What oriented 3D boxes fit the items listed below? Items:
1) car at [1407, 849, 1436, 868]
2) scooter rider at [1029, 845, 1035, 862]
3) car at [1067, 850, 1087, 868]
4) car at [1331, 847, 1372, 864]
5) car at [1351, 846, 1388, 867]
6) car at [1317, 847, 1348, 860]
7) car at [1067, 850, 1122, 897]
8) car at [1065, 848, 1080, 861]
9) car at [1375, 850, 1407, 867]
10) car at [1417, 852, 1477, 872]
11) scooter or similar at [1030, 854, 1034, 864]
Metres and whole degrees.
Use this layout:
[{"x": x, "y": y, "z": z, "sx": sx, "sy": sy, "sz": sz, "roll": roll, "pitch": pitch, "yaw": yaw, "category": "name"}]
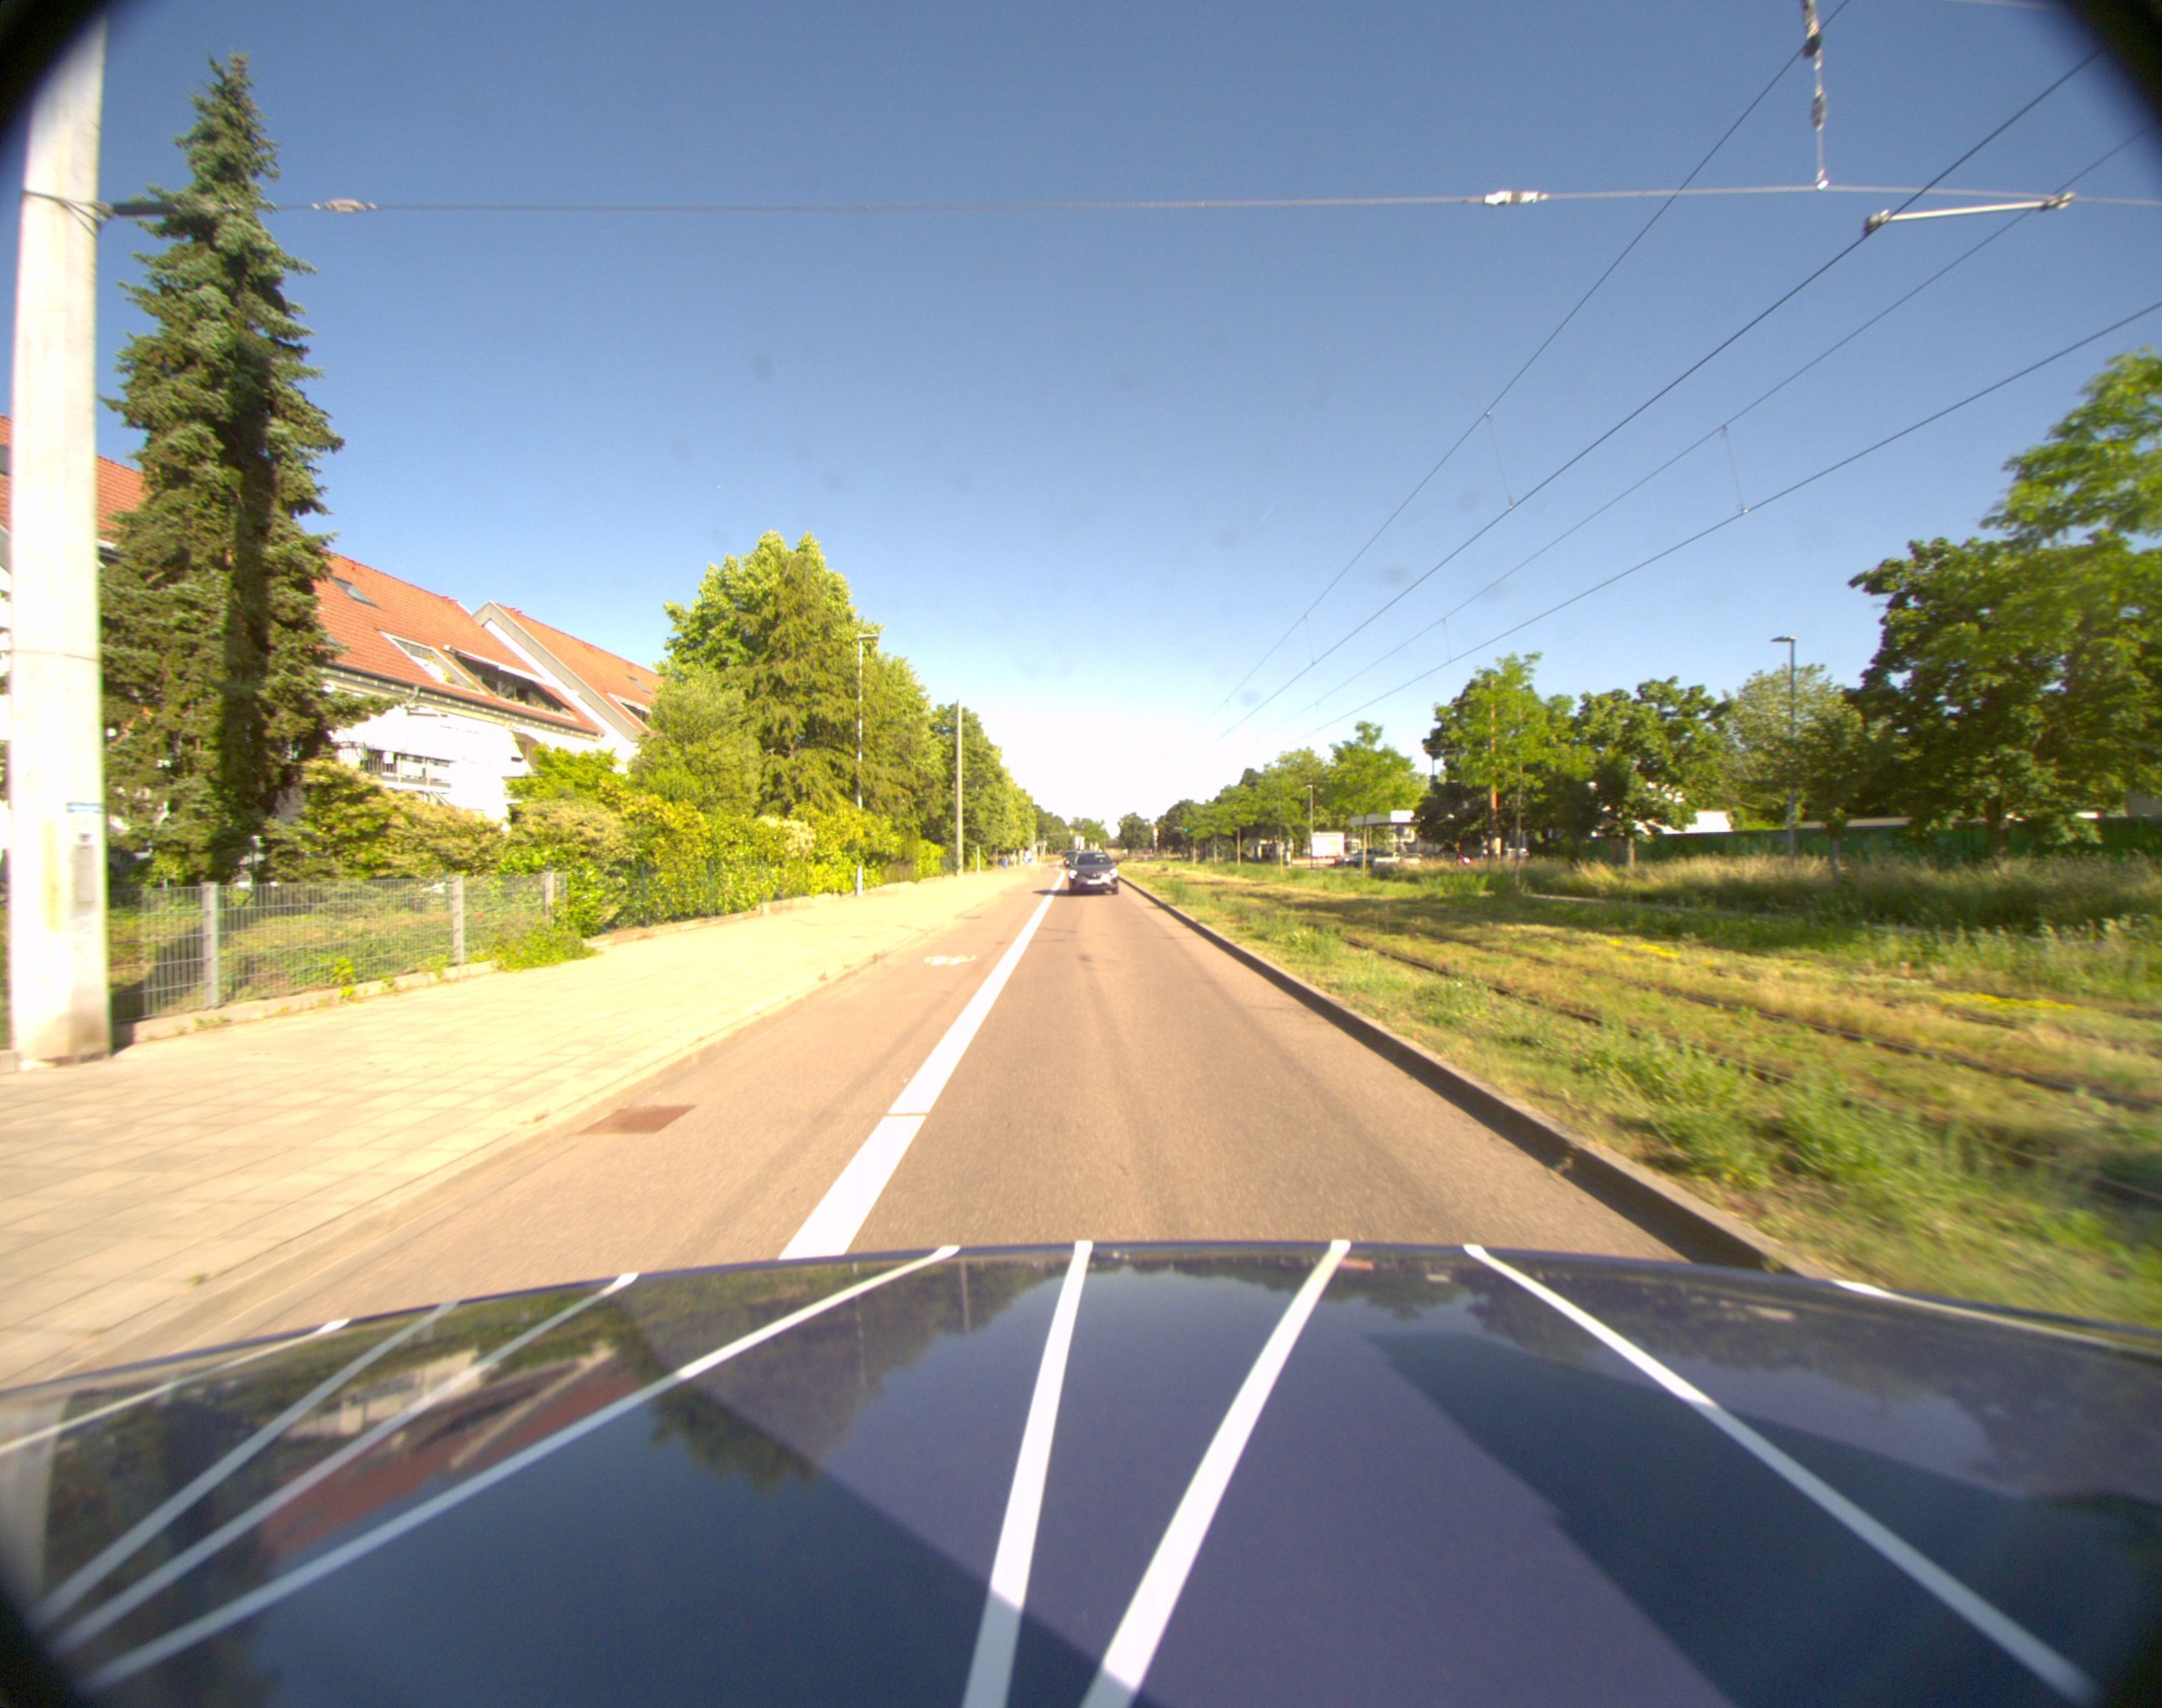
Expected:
[{"x": 30.149, "y": 0.366, "z": 67.262, "sx": 2.022, "sy": 1.499, "sz": 4.897, "roll": 0, "pitch": 2, "yaw": 28, "category": "car"}, {"x": -5.437, "y": -0.059, "z": 83.825, "sx": 0.552, "sy": 1.756, "sz": 0.599, "roll": -1, "pitch": 1, "yaw": -2, "category": "scooter rider"}, {"x": -0.429, "y": 0.499, "z": 81.041, "sx": 1.998, "sy": 1.824, "sz": 3.999, "roll": -2, "pitch": 1, "yaw": 1, "category": "car"}, {"x": 30.899, "y": 0.178, "z": 86.813, "sx": 3.996, "sy": 1.846, "sz": 2.000, "roll": -2, "pitch": 0, "yaw": 2, "category": "car"}, {"x": 28.014, "y": 0.234, "z": 73.688, "sx": 1.893, "sy": 1.899, "sz": 4.821, "roll": -1, "pitch": 0, "yaw": 40, "category": "car"}, {"x": 38.883, "y": -0.065, "z": 117.633, "sx": 4.052, "sy": 1.816, "sz": 1.999, "roll": -2, "pitch": 1, "yaw": -3, "category": "car"}, {"x": 0.449, "y": 0.689, "z": 28.642, "sx": 1.868, "sy": 1.614, "sz": 3.999, "roll": -1, "pitch": 0, "yaw": -1, "category": "car"}, {"x": -1.267, "y": 0.060, "z": 112.040, "sx": 1.998, "sy": 1.824, "sz": 3.999, "roll": -2, "pitch": 1, "yaw": 1, "category": "car"}, {"x": 28.372, "y": 0.383, "z": 69.471, "sx": 1.712, "sy": 1.416, "sz": 4.466, "roll": -1, "pitch": 1, "yaw": 36, "category": "car"}, {"x": 27.488, "y": 0.573, "z": 57.115, "sx": 3.711, "sy": 1.503, "sz": 1.641, "roll": 0, "pitch": 0, "yaw": -4, "category": "car"}, {"x": -5.424, "y": 0.525, "z": 83.592, "sx": 0.349, "sy": 1.130, "sz": 1.208, "roll": 0, "pitch": 0, "yaw": -1, "category": "scooter or similar"}]
